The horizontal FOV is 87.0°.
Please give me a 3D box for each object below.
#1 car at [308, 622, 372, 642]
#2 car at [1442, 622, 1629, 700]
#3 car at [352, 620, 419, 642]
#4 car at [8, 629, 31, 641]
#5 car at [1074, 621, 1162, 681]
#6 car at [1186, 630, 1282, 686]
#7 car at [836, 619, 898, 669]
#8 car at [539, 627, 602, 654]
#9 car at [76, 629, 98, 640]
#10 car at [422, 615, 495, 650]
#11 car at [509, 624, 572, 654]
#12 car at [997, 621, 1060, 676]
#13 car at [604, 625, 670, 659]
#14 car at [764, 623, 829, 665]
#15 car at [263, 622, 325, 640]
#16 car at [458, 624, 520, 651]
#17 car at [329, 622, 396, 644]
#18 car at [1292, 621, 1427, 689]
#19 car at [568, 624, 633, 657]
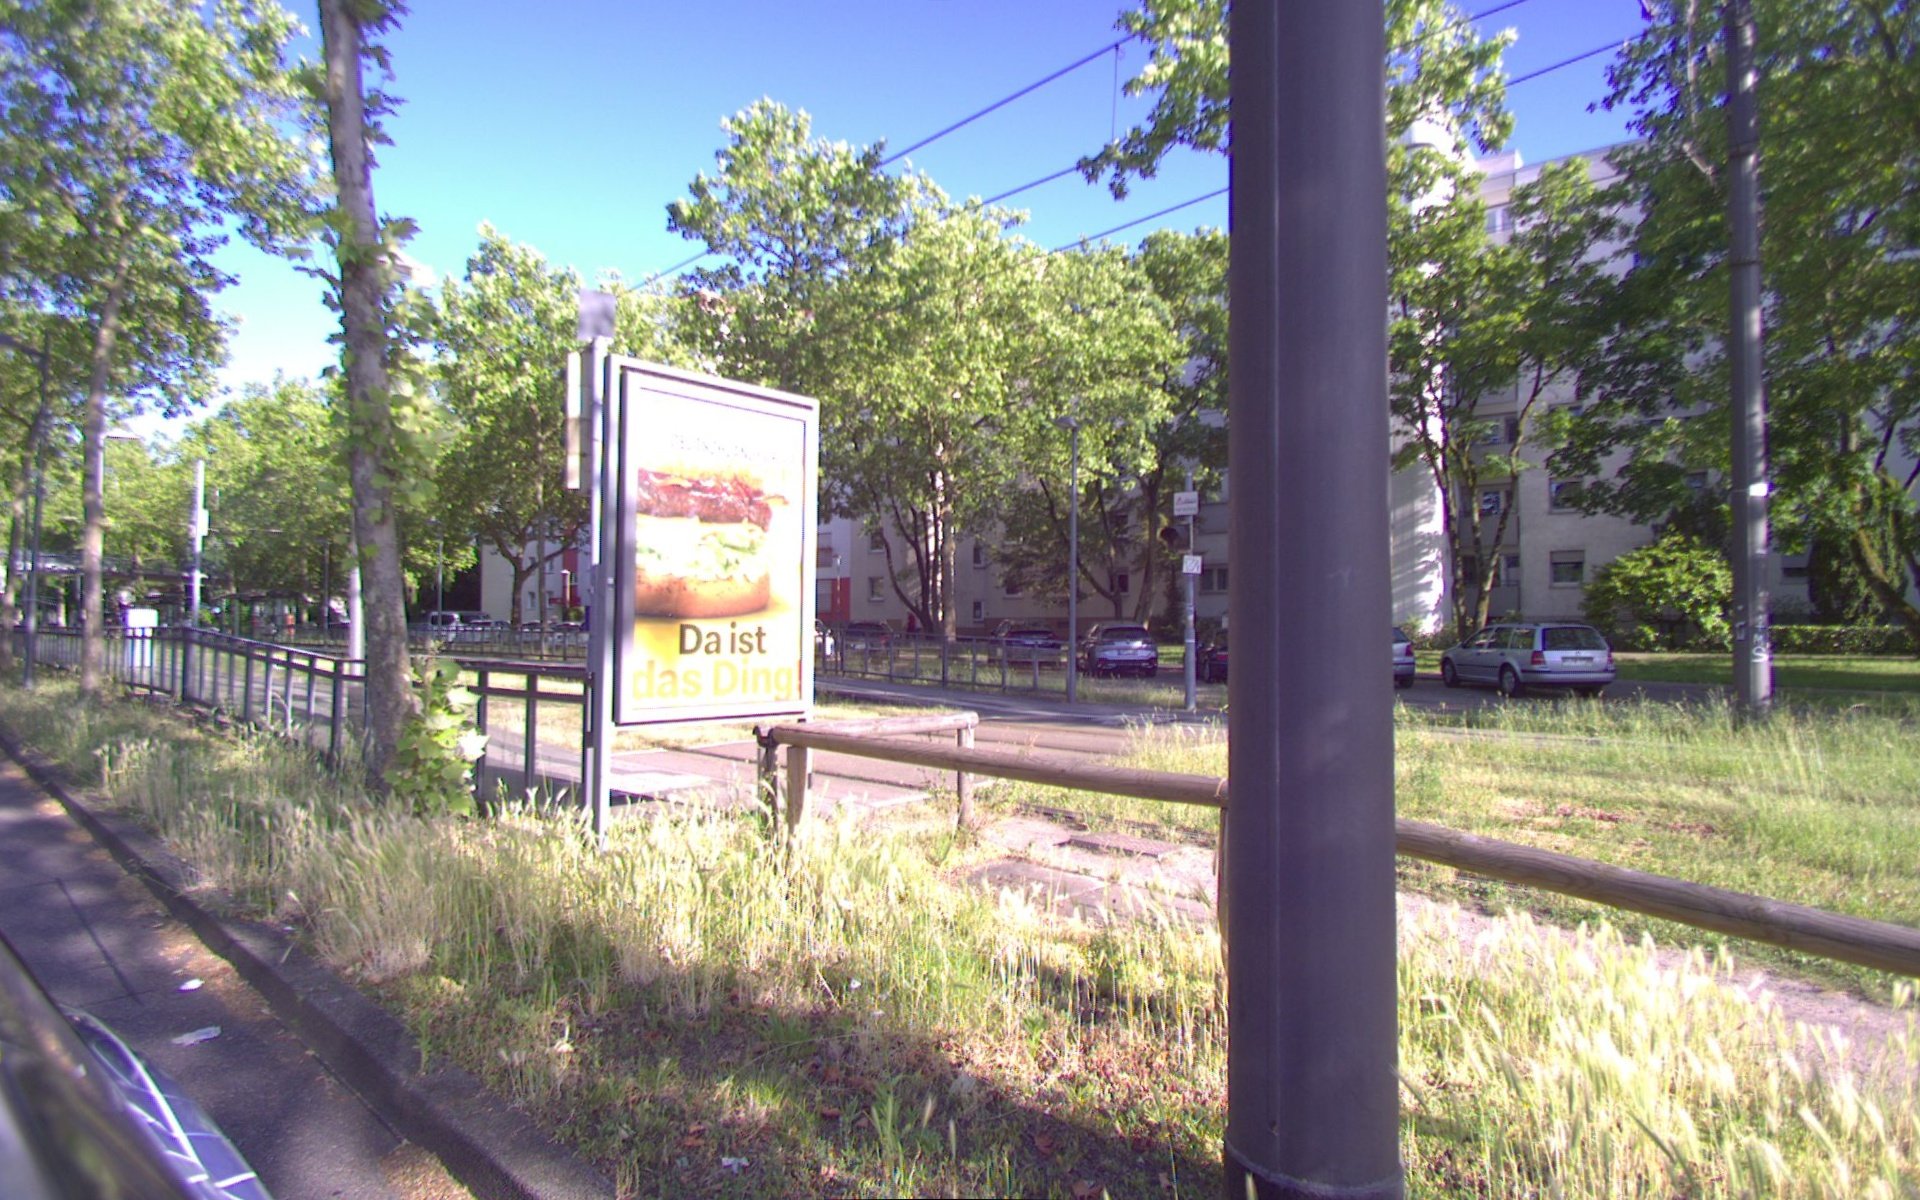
[{"bbox_3d":[-44.645,2.278,72.972,1.898,1.386,4.365,0,-1,1],"label":"car"},{"bbox_3d":[11.550,1.174,20.619,1.707,1.444,3.681,0,-1,1],"label":"car"},{"bbox_3d":[-37.800,2.034,66.705,1.898,1.386,4.365,0,-1,1],"label":"car"},{"bbox_3d":[-124.478,4.621,133.957,4.366,1.586,1.898,-1,-2,42],"label":"car"},{"bbox_3d":[4.208,1.343,27.483,1.894,1.507,3.680,0,-1,2],"label":"car"},{"bbox_3d":[6.731,1.398,25.198,1.602,1.256,3.677,0,-1,4],"label":"car"},{"bbox_3d":[-3.106,1.455,34.458,1.664,1.579,3.679,0,-1,2],"label":"car"},{"bbox_3d":[-19.046,1.977,49.656,1.627,1.251,3.680,0,-1,1],"label":"car"},{"bbox_3d":[-108.981,4.320,126.291,3.294,1.370,1.651,-1,-2,41],"label":"car"},{"bbox_3d":[-28.327,1.823,57.317,1.898,1.898,4.365,0,-1,1],"label":"car"},{"bbox_3d":[-21.123,1.956,51.123,1.627,1.460,3.680,0,-1,1],"label":"car"},{"bbox_3d":[1.935,1.365,29.437,1.664,1.482,3.680,0,-1,1],"label":"car"},{"bbox_3d":[-14.082,1.816,44.270,1.627,1.403,3.679,0,-1,2],"label":"car"},{"bbox_3d":[-5.908,1.569,36.908,1.664,1.444,3.679,0,-1,2],"label":"car"},{"bbox_3d":[-52.147,2.400,79.352,1.898,1.386,4.365,0,-1,1],"label":"car"},{"bbox_3d":[-25.798,2.032,55.508,1.627,1.407,3.680,0,-1,1],"label":"car"},{"bbox_3d":[-40.283,2.201,68.380,1.898,1.386,4.365,0,-1,1],"label":"car"},{"bbox_3d":[9.155,1.217,23.518,1.679,1.444,3.681,0,-1,1],"label":"car"},{"bbox_3d":[-16.682,1.839,47.126,1.627,1.460,3.680,0,-1,1],"label":"car"}]
